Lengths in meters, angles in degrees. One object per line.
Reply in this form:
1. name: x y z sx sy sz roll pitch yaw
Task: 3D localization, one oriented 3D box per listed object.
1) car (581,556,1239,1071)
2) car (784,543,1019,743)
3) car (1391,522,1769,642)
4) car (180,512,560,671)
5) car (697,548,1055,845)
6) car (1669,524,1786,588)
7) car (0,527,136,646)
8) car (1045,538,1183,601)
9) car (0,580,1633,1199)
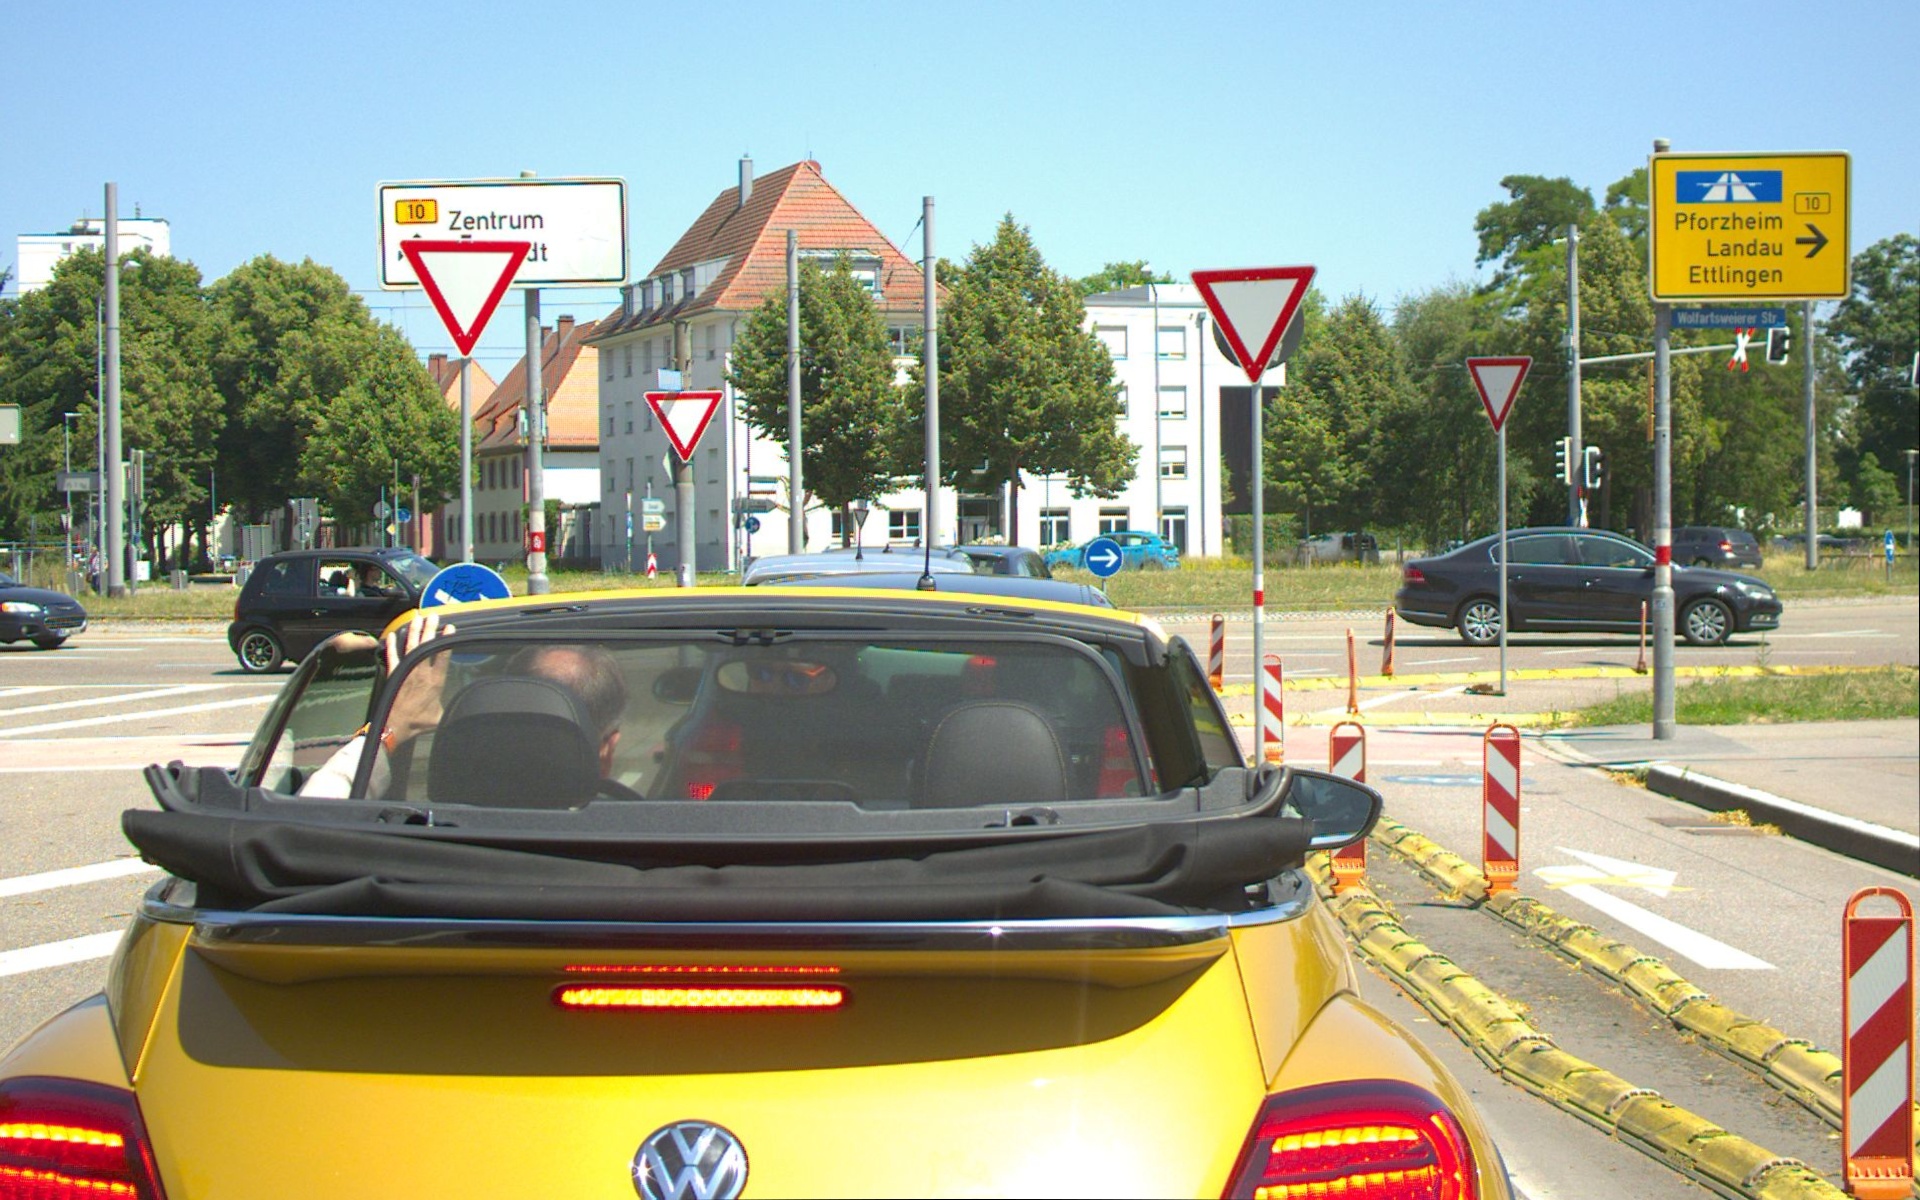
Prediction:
1. car: -0.160 0.577 11.680 1.848 1.437 4.000 0 1 -1
2. car: -0.455 0.290 27.494 1.736 1.472 4.000 0 1 -1
3. car: 7.663 -0.234 42.810 4.519 1.442 1.822 0 1 8
4. car: -6.949 -0.118 40.684 3.989 1.809 1.999 0 1 11
5. car: -0.427 0.439 18.693 1.736 1.437 4.000 0 1 -1
6. car: 19.562 -1.125 87.751 1.645 1.601 3.229 0 1 -14
7. car: -14.488 -0.220 49.285 4.943 1.650 1.998 1 1 21
8. car: 4.526 -0.901 100.675 3.987 1.831 2.000 0 1 3
9. car: -0.323 0.699 4.863 1.752 1.417 3.778 0 1 -1
